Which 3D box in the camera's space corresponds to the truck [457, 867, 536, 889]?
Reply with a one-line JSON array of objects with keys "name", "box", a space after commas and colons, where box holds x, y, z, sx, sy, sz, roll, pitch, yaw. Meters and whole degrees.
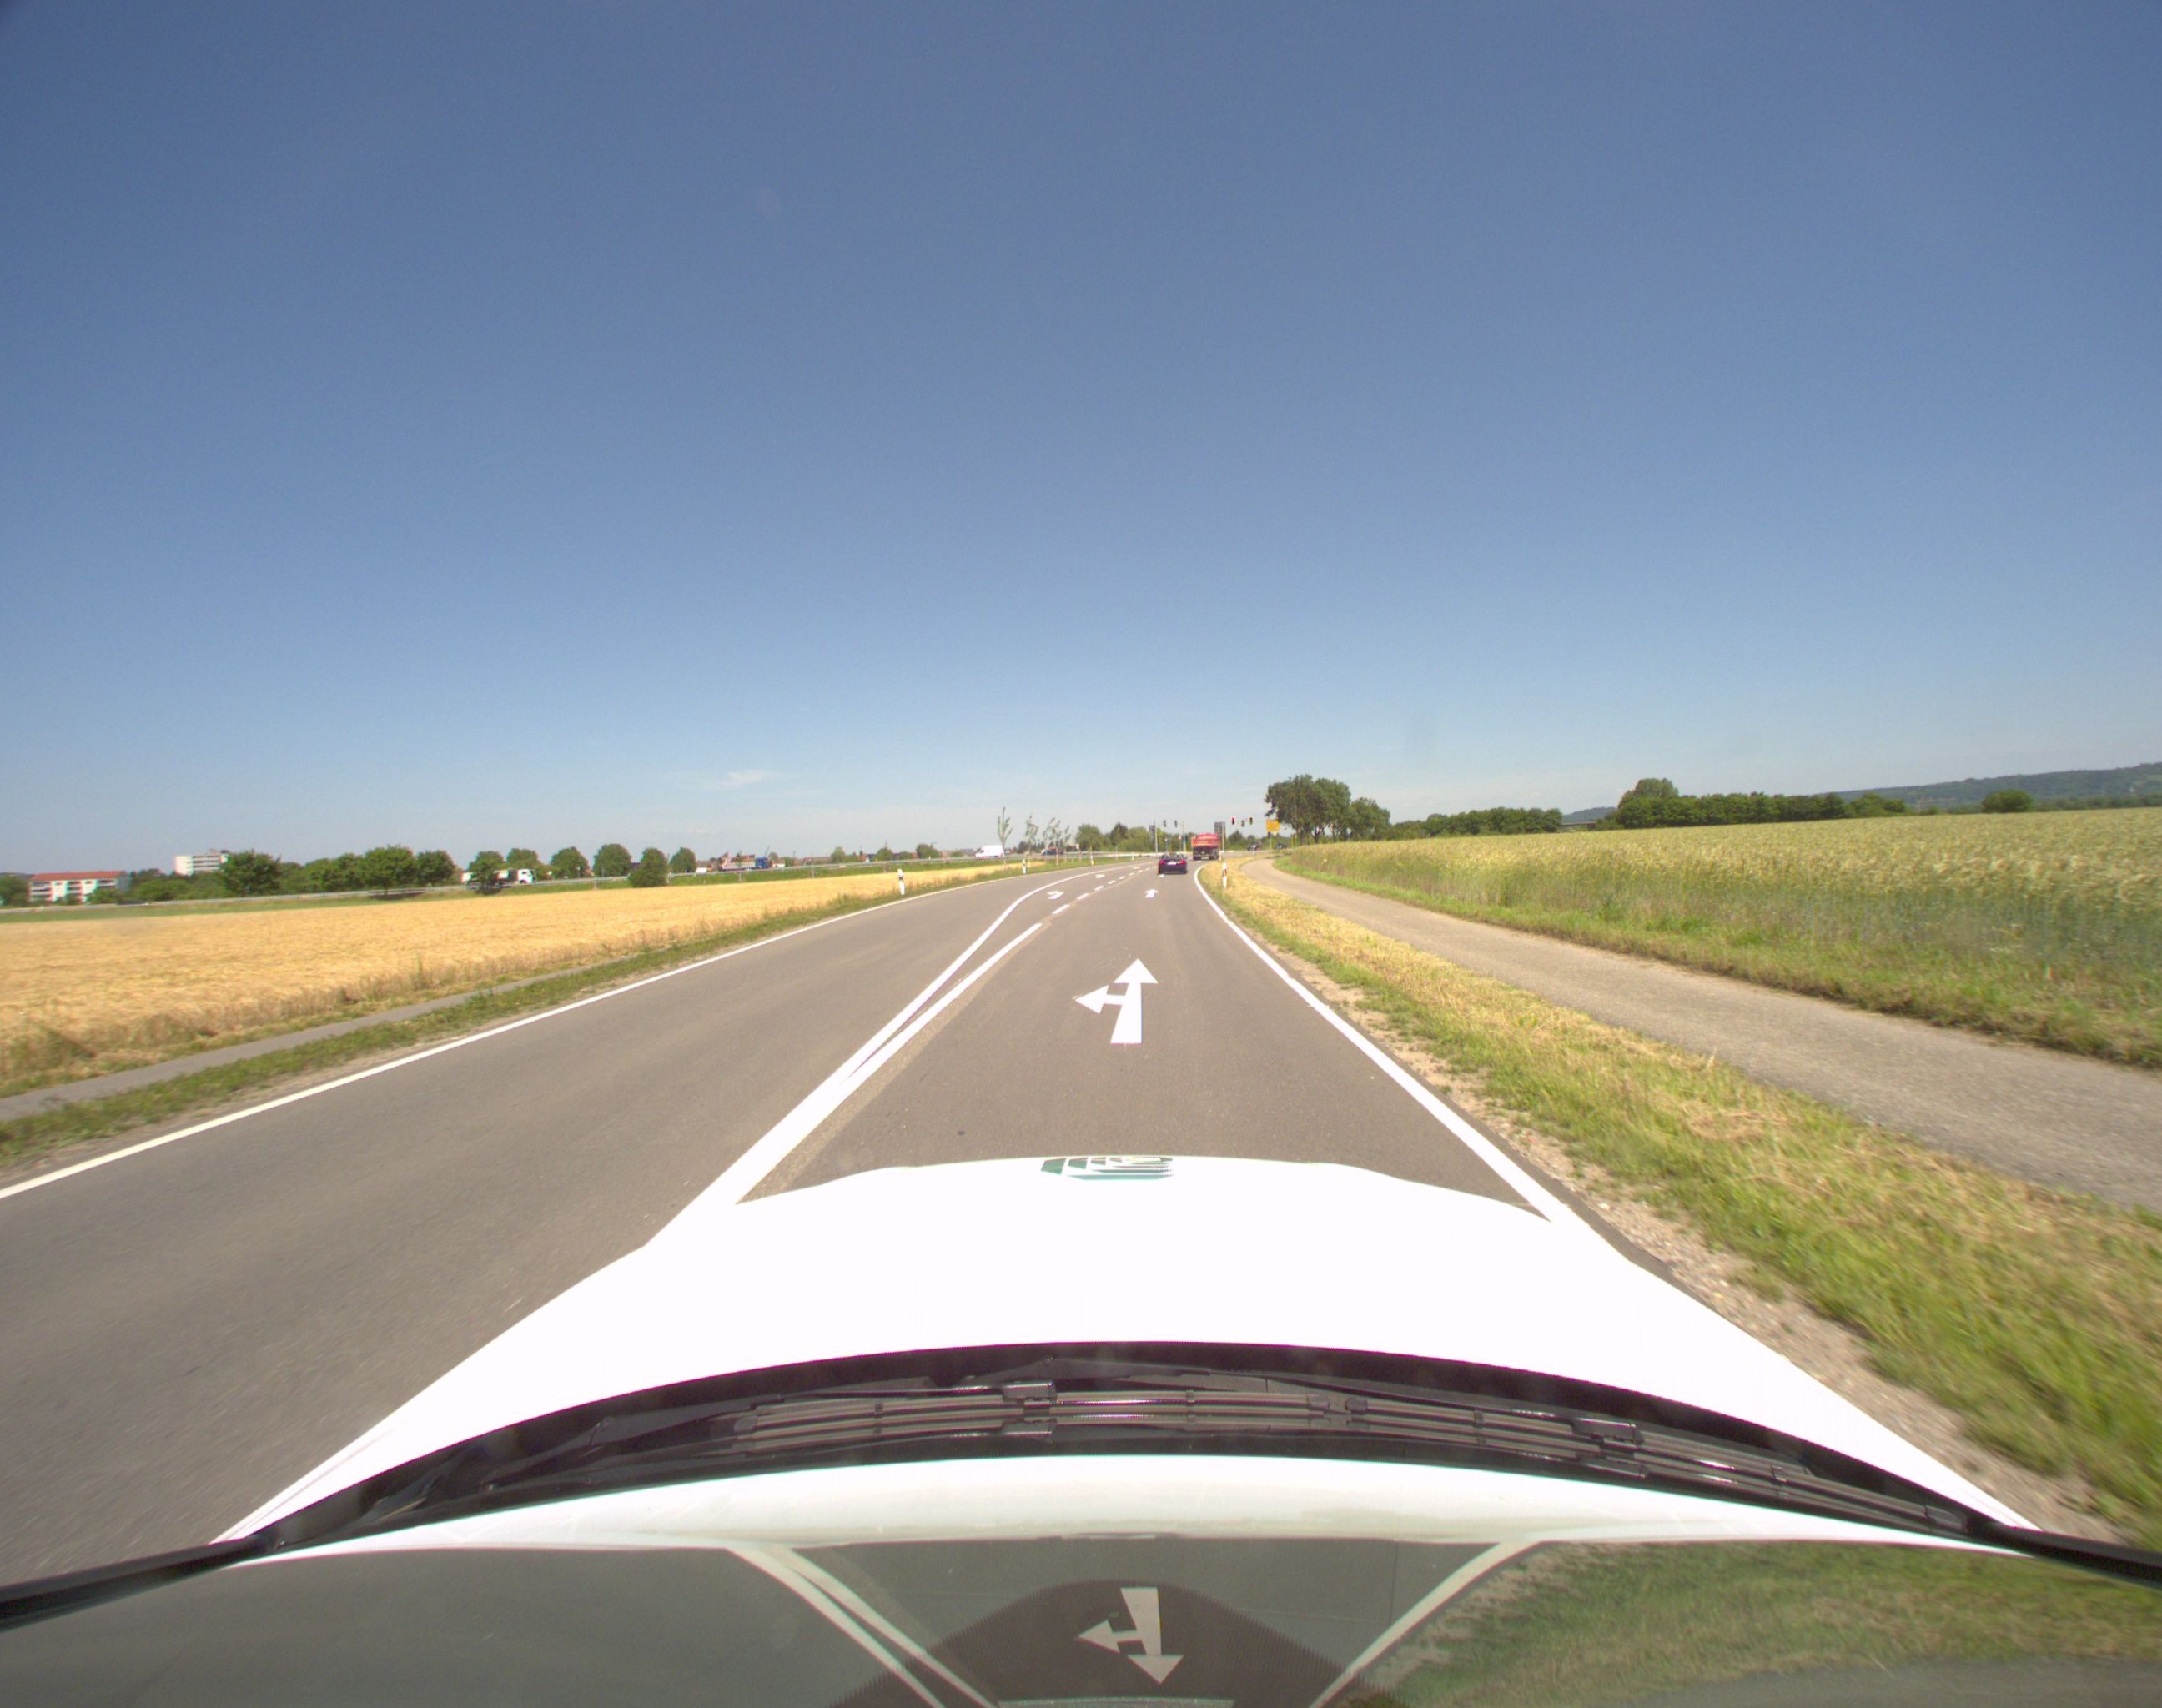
[{"name": "truck", "box": [-112.802, 4.660, 157.240, 12.002, 3.614, 2.970, -2, 0, -13]}]

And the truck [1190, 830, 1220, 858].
[{"name": "truck", "box": [14.542, -1.040, 95.240, 2.695, 3.052, 8.193, -2, -1, 13]}]

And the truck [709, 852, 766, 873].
[{"name": "truck", "box": [-68.398, 1.611, 162.222, 10.054, 3.793, 2.624, -2, 0, -2]}]

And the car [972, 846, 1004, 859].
[{"name": "car", "box": [-18.683, -0.398, 163.956, 5.877, 2.421, 2.256, -2, 0, 12]}]

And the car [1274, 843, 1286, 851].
[{"name": "car", "box": [45.252, -1.640, 185.182, 1.913, 1.739, 4.917, -2, 1, 24]}]

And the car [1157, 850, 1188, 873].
[{"name": "car", "box": [5.716, 0.469, 50.563, 1.737, 1.375, 3.688, -1, -1, 9]}]
